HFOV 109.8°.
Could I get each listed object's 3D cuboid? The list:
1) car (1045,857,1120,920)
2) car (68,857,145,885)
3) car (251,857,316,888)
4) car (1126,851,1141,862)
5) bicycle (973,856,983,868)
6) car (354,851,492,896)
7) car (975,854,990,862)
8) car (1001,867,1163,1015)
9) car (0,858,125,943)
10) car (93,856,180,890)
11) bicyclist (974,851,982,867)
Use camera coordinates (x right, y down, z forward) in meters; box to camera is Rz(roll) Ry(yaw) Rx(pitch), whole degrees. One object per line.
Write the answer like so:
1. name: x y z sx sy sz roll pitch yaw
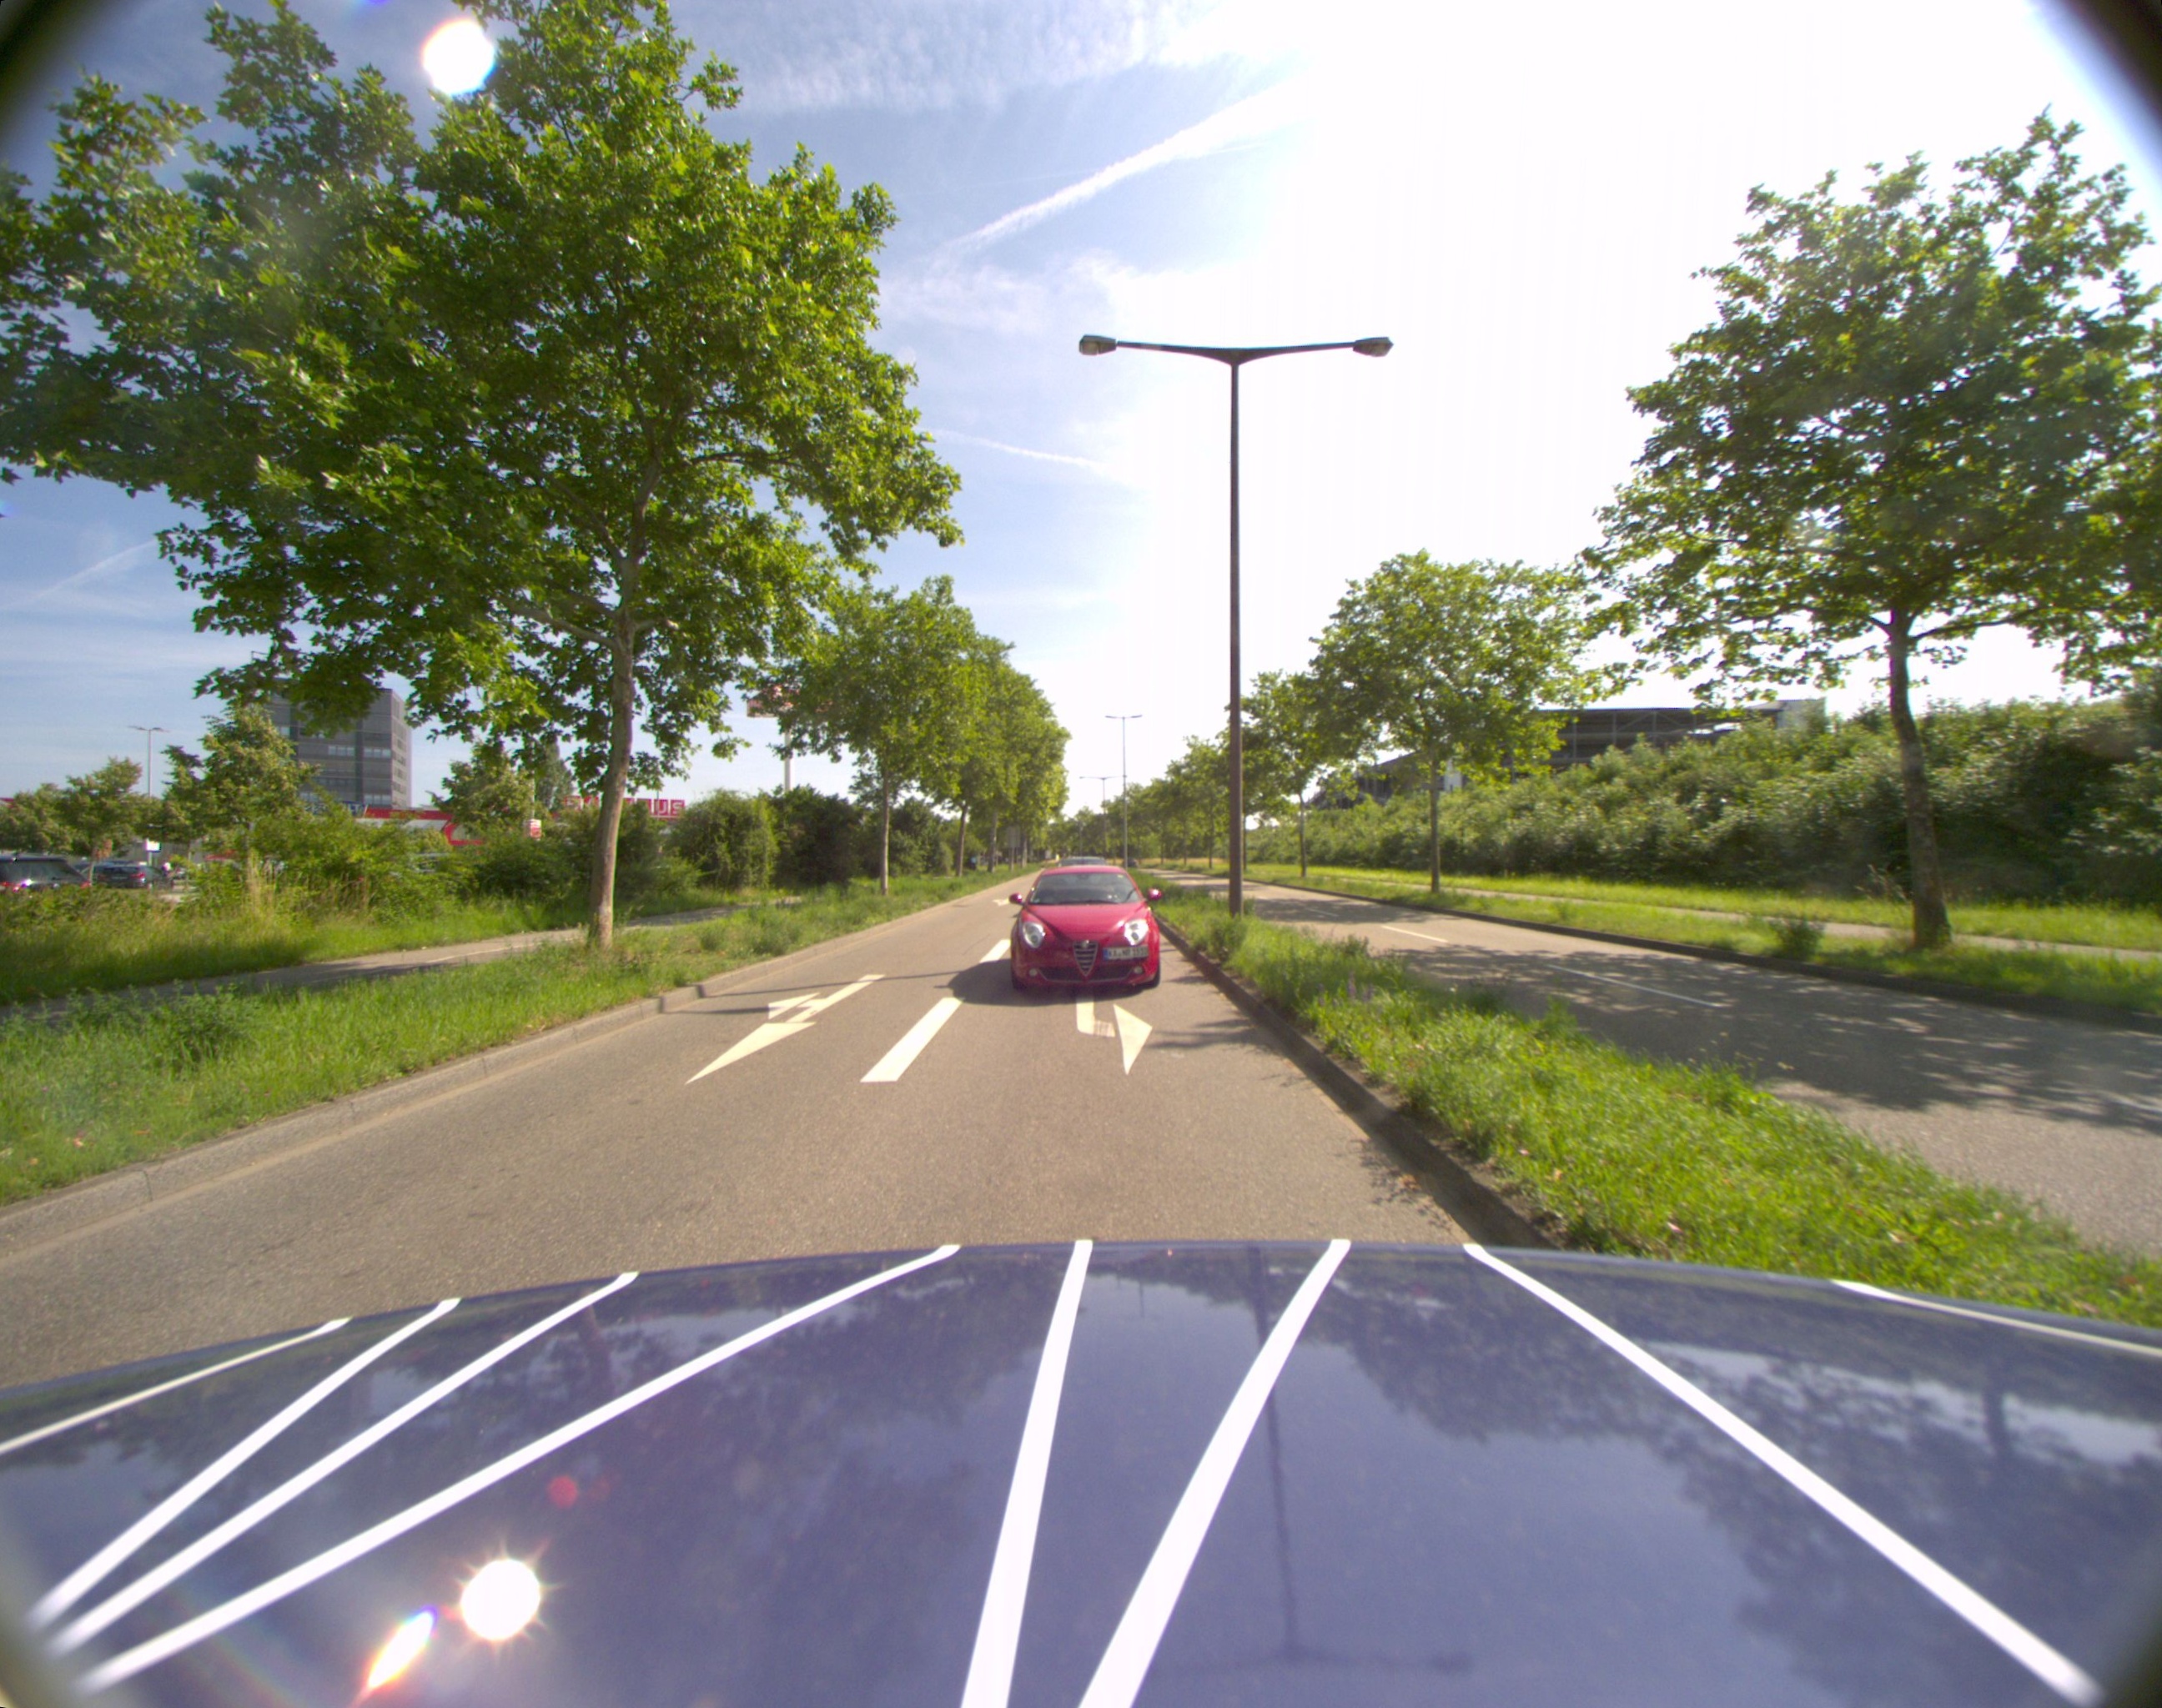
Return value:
1. car: 0.061 0.874 21.125 1.874 1.536 4.081 -1 0 1
2. car: -57.847 0.971 45.188 1.693 1.565 3.989 0 0 -35
3. car: -43.080 0.940 41.136 1.693 1.565 3.989 0 0 -35
4. car: 7.358 0.401 106.586 1.868 1.459 3.937 -1 1 0
5. bicycle: -10.565 0.835 77.947 0.687 1.230 1.934 0 0 1
6. car: -24.956 0.685 29.010 3.870 1.576 1.844 0 1 -38
7. car: -25.388 0.968 195.774 2.003 2.002 4.687 0 0 -30
8. car: 0.037 0.951 9.966 1.658 1.430 3.908 -2 0 1
9. car: -22.192 0.881 15.052 3.861 1.576 1.848 0 1 -6
10. car: -47.609 0.905 38.406 1.693 1.565 3.989 0 0 -35
11. bicyclist: -10.564 0.462 77.998 0.687 1.622 1.002 0 1 1
